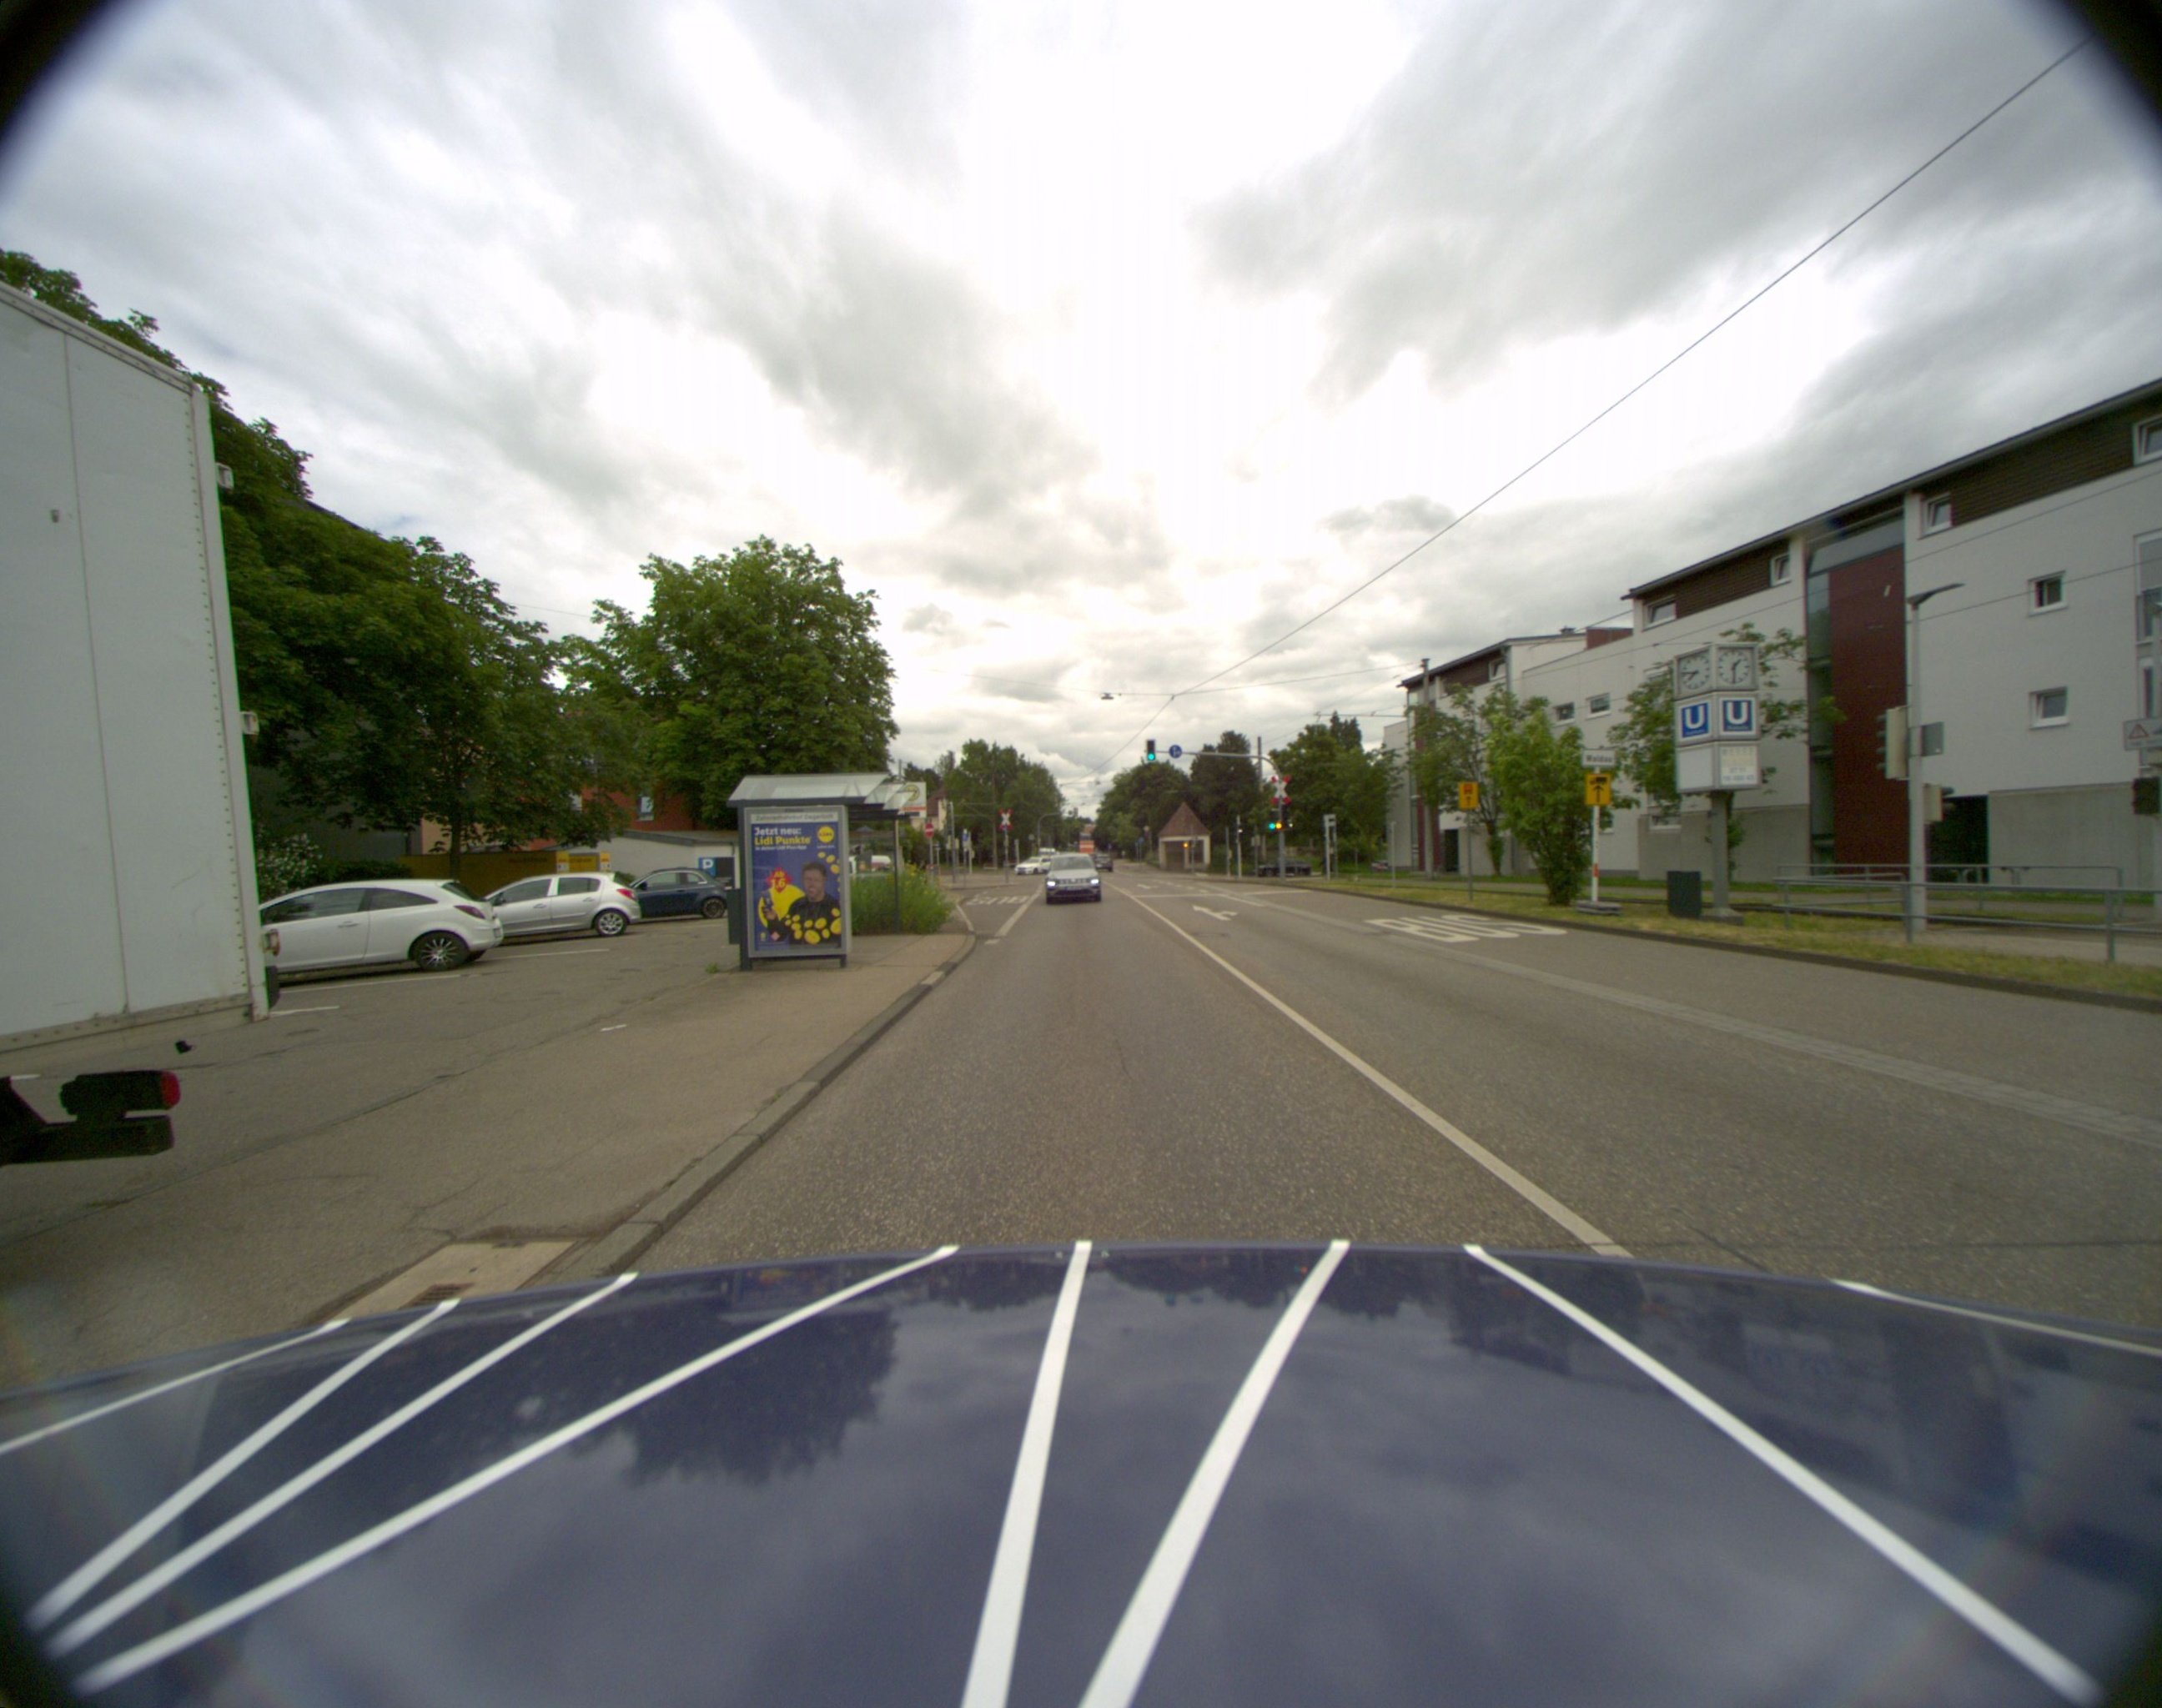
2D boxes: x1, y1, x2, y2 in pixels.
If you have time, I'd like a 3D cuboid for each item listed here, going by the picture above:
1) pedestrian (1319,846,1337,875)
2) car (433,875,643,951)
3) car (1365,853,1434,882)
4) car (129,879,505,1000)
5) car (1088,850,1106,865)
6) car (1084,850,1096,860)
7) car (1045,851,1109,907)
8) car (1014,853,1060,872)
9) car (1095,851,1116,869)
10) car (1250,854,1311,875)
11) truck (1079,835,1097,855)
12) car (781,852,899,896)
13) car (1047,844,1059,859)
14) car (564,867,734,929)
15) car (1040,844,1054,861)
[{"bbox_3d":[14.060,0.378,43.189,0.677,1.634,0.819,0,-1,-6],"label":"pedestrian"},{"bbox_3d":[-11.504,1.205,16.372,3.522,1.369,1.544,-1,-1,-31],"label":"car"},{"bbox_3d":[24.659,1.016,58.859,4.469,2.002,1.999,2,0,-7],"label":"car"},{"bbox_3d":[-11.118,1.171,11.445,3.655,1.427,1.588,0,2,-28],"label":"car"},{"bbox_3d":[1.990,0.394,95.635,1.835,1.660,4.487,-5,1,-1],"label":"car"},{"bbox_3d":[1.363,0.161,115.983,1.679,1.497,3.732,0,0,-2],"label":"car"},{"bbox_3d":[-0.228,0.783,26.298,1.835,1.610,4.486,-4,1,-4],"label":"car"},{"bbox_3d":[-3.761,0.732,65.936,1.911,1.527,4.664,-1,0,27],"label":"car"},{"bbox_3d":[2.264,0.566,71.038,1.744,1.550,4.182,-1,1,-1],"label":"car"},{"bbox_3d":[16.516,0.862,62.966,4.488,1.660,1.964,2,0,-8],"label":"car"},{"bbox_3d":[1.219,-1.656,140.574,2.776,3.697,8.466,1,1,-2],"label":"truck"},{"bbox_3d":[-10.543,0.846,33.586,1.846,1.738,4.705,-1,0,37],"label":"car"},{"bbox_3d":[-5.070,-0.526,138.280,2.046,2.588,5.965,-1,1,-1],"label":"car"},{"bbox_3d":[-12.279,1.180,21.724,4.006,1.468,1.875,-2,1,-32],"label":"car"},{"bbox_3d":[-5.486,-0.306,121.150,2.095,2.589,6.679,-1,1,-3],"label":"car"}]
